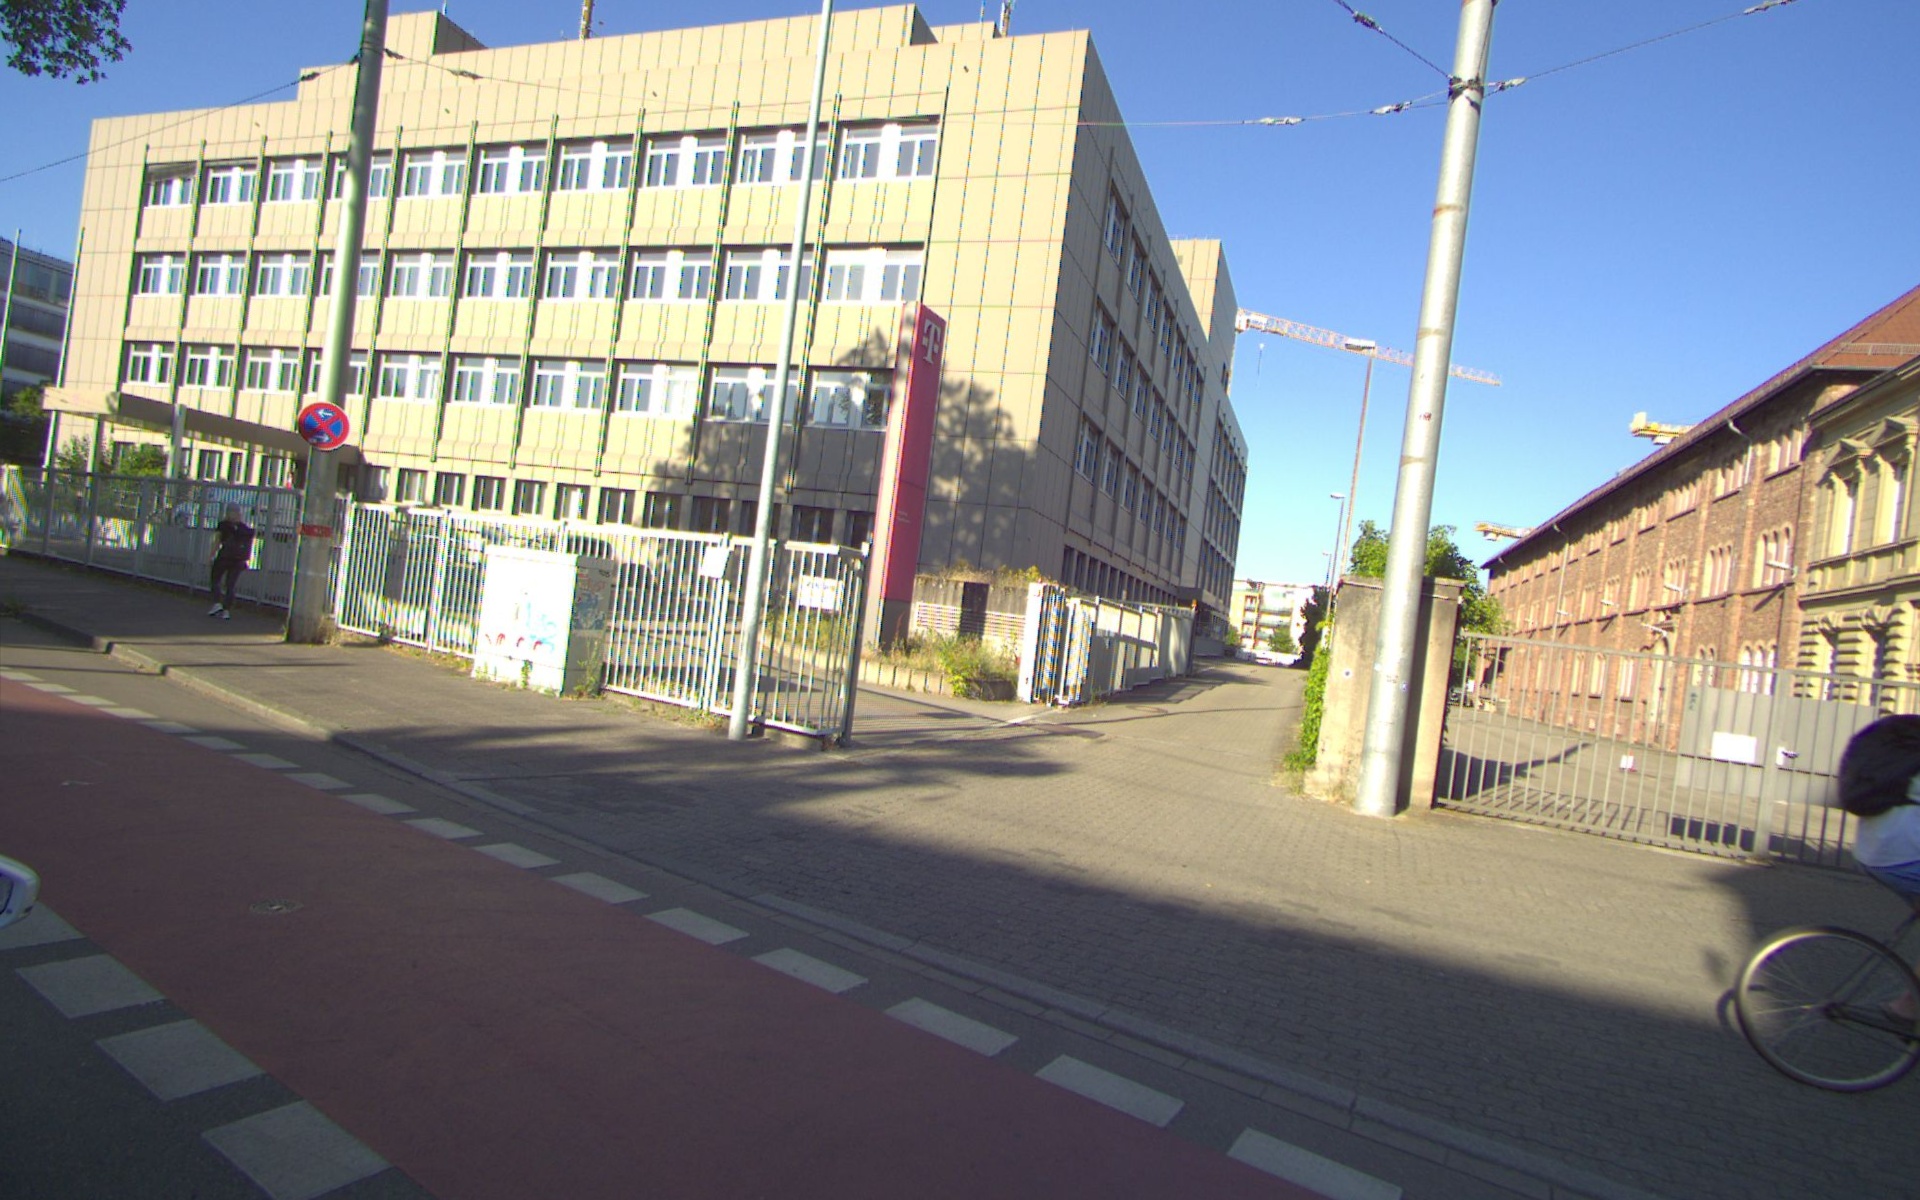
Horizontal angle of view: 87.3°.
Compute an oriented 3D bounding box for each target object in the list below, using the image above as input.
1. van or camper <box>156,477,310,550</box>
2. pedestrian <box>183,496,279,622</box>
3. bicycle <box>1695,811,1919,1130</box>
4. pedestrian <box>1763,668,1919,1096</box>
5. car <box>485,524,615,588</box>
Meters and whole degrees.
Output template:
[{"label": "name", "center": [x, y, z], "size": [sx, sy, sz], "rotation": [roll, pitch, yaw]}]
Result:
[{"label": "van or camper", "center": [-26.167, -3.100, 36.202], "size": [4.907, 1.932, 1.987], "rotation": [7, 0, 21]}, {"label": "pedestrian", "center": [-10.705, -0.595, 14.779], "size": [0.915, 1.704, 0.697], "rotation": [7, 0, 31]}, {"label": "bicycle", "center": [4.255, 1.618, 4.095], "size": [1.869, 1.046, 0.675], "rotation": [7, 2, 30]}, {"label": "pedestrian", "center": [4.180, 1.175, 4.154], "size": [1.083, 1.640, 0.670], "rotation": [7, 2, 30]}, {"label": "car", "center": [-15.077, -1.583, 37.244], "size": [1.957, 1.738, 4.266], "rotation": [7, -1, 21]}]
